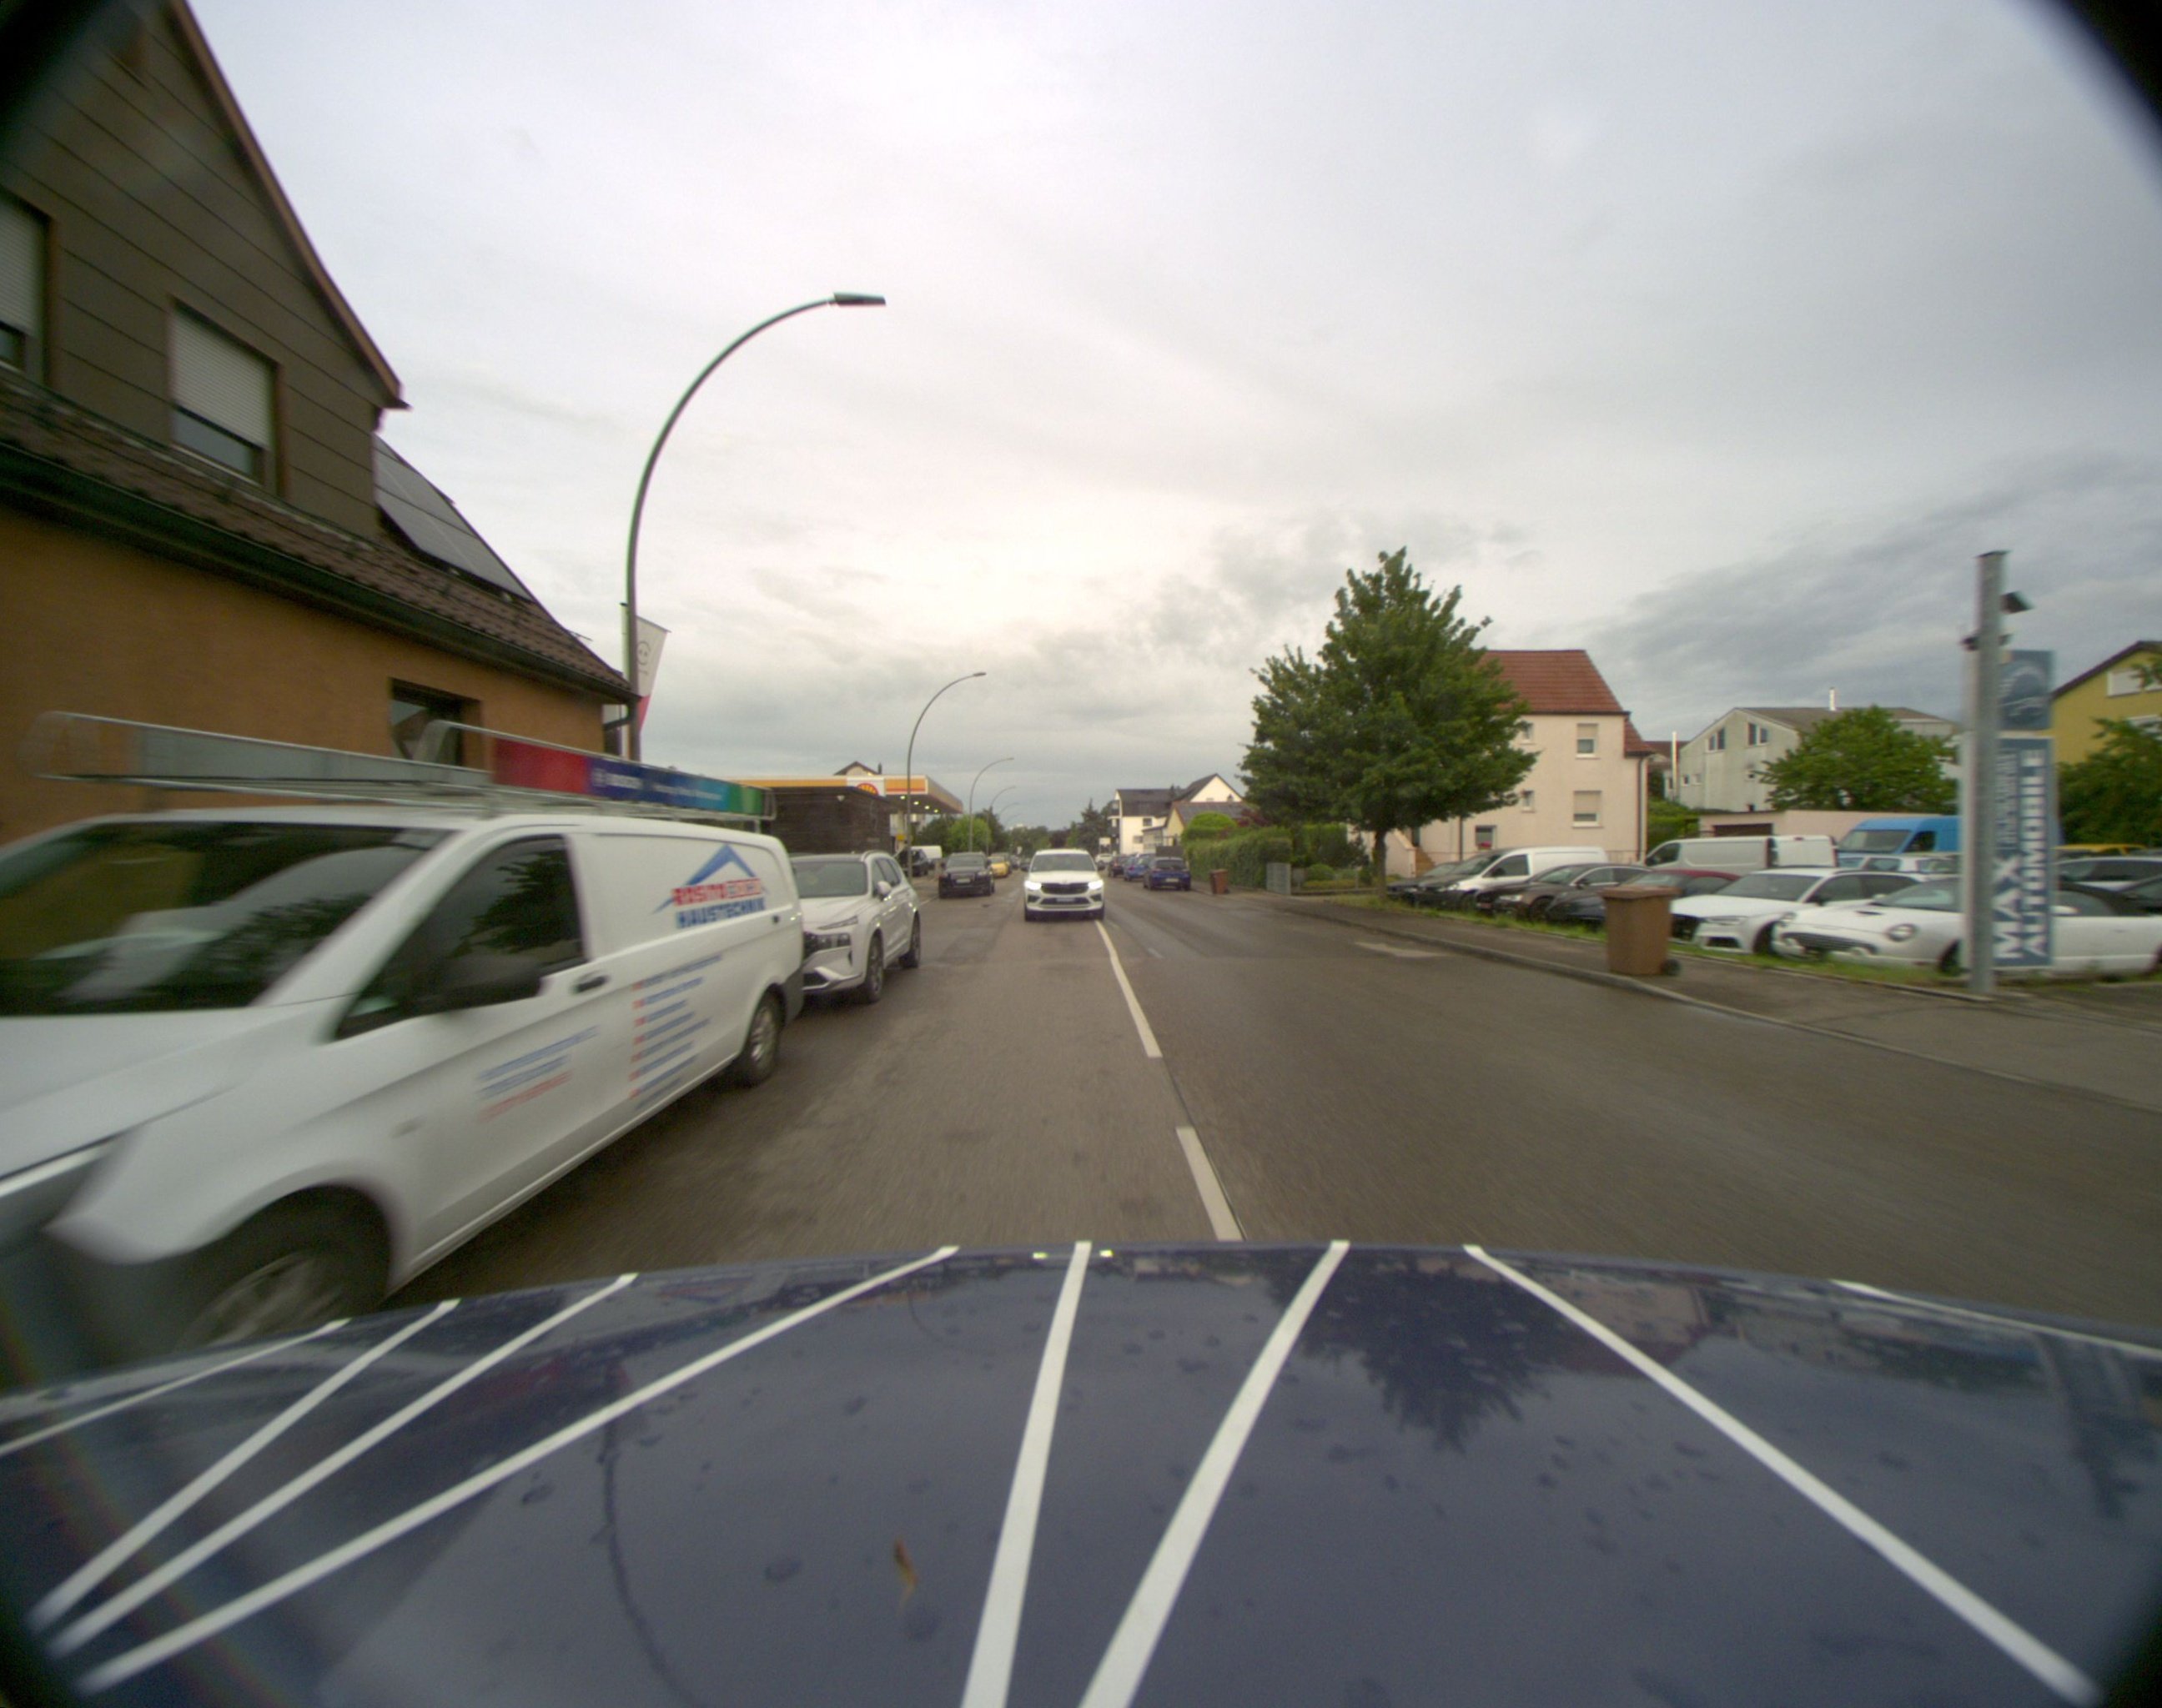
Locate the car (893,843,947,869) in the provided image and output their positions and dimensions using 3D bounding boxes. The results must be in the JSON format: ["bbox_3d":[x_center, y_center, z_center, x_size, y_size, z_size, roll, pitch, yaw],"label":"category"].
[{"bbox_3d":[-15.908,0.200,74.908,4.810,2.506,2.243,-1,0,-25],"label":"car"}]

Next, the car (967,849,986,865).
[{"bbox_3d":[-11.878,0.327,86.322,2.000,1.673,3.997,-1,0,-8],"label":"car"}]

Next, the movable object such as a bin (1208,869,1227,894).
[{"bbox_3d":[5.298,1.076,29.510,0.541,0.905,0.505,-4,1,-4],"label":"movable object such as a bin"}]

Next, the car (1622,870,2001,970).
[{"bbox_3d":[11.453,0.986,12.122,4.388,1.366,1.888,-1,1,-3],"label":"car"}]

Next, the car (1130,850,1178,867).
[{"bbox_3d":[6.720,0.429,70.100,4.097,1.505,1.882,-1,0,-7],"label":"car"}]

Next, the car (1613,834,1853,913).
[{"bbox_3d":[17.657,0.475,21.020,1.999,1.919,5.051,0,0,-5],"label":"car"}]

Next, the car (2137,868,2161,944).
[{"bbox_3d":[19.190,0.838,11.146,1.621,1.250,3.996,-1,-1,-13],"label":"car"}]

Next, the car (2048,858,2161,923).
[{"bbox_3d":[23.620,0.772,16.725,3.232,1.325,1.337,-1,1,-5],"label":"car"}]

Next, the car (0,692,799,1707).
[{"bbox_3d":[-3.020,0.737,3.321,1.782,2.017,4.753,-2,0,-1],"label":"car"}]

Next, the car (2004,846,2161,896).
[{"bbox_3d":[27.961,0.451,21.127,3.232,1.325,1.337,-1,1,-5],"label":"car"}]

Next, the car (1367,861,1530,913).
[{"bbox_3d":[10.581,0.924,21.994,3.923,1.364,1.760,-1,1,-7],"label":"car"}]

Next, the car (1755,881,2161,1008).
[{"bbox_3d":[11.492,1.063,9.641,4.464,1.324,1.770,-1,1,-3],"label":"car"}]

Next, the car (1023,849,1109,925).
[{"bbox_3d":[-0.471,0.739,19.188,1.885,1.650,4.829,0,0,-3],"label":"car"}]

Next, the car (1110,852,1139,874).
[{"bbox_3d":[2.972,0.597,52.521,1.613,1.497,3.706,1,0,-3],"label":"car"}]

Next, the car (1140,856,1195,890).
[{"bbox_3d":[3.820,0.797,34.218,1.812,1.395,3.943,1,0,-3],"label":"car"}]

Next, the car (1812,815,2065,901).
[{"bbox_3d":[25.948,0.107,23.119,5.686,2.361,2.046,-1,1,-3],"label":"car"}]

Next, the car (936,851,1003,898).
[{"bbox_3d":[-4.338,0.782,30.198,2.097,1.652,4.558,-2,-1,-2],"label":"car"}]

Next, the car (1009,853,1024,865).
[{"bbox_3d":[-8.536,0.699,100.449,1.742,1.493,3.880,-3,0,-2],"label":"car"}]

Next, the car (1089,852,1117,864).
[{"bbox_3d":[3.448,0.622,117.914,3.999,1.637,1.999,-4,0,-5],"label":"car"}]

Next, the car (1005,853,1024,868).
[{"bbox_3d":[-7.342,0.674,84.016,1.999,1.586,3.998,0,0,-5],"label":"car"}]

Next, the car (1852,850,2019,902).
[{"bbox_3d":[22.959,0.570,20.460,3.232,1.325,1.337,-1,1,-5],"label":"car"}]

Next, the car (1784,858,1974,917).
[{"bbox_3d":[19.938,0.784,19.167,1.389,1.325,3.114,-1,0,-5],"label":"car"}]

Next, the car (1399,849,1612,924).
[{"bbox_3d":[10.884,0.776,19.646,4.572,1.780,1.896,-1,1,-7],"label":"car"}]

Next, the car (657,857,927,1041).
[{"bbox_3d":[-3.182,0.910,9.392,1.871,1.655,4.318,-1,0,-4],"label":"car"}]

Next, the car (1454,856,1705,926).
[{"bbox_3d":[11.078,0.771,17.045,4.572,1.410,1.896,-1,1,-7],"label":"car"}]

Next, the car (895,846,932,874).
[{"bbox_3d":[-10.729,0.380,48.896,1.825,1.749,3.998,0,0,-6],"label":"car"}]

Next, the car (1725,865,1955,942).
[{"bbox_3d":[16.106,0.969,16.304,1.340,1.407,3.226,-1,0,-26],"label":"car"}]

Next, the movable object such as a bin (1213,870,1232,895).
[{"bbox_3d":[5.411,1.079,29.053,0.541,0.905,0.424,-4,1,-4],"label":"movable object such as a bin"}]

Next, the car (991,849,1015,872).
[{"bbox_3d":[-6.397,0.496,62.602,1.661,1.728,4.442,-3,0,-4],"label":"car"}]

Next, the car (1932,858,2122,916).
[{"bbox_3d":[23.029,0.775,18.553,3.232,1.325,1.337,-1,1,-5],"label":"car"}]

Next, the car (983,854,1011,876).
[{"bbox_3d":[-5.718,0.716,52.081,1.661,1.393,3.800,-1,0,-4],"label":"car"}]

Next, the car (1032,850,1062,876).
[{"bbox_3d":[-2.202,0.535,48.745,1.778,1.552,3.998,-2,0,-4],"label":"car"}]

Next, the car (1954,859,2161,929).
[{"bbox_3d":[20.459,0.755,15.242,1.664,1.228,3.530,-1,0,-9],"label":"car"}]

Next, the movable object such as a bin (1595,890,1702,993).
[{"bbox_3d":[6.723,1.014,9.038,0.710,1.123,0.735,-1,1,-3],"label":"movable object such as a bin"}]

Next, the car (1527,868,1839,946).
[{"bbox_3d":[11.308,0.955,14.489,4.570,1.302,1.888,-1,0,-3],"label":"car"}]

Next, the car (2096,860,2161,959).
[{"bbox_3d":[16.645,0.807,10.319,1.340,1.407,3.226,-1,0,-26],"label":"car"}]

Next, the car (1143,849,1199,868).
[{"bbox_3d":[7.212,0.334,61.123,4.096,1.405,1.713,-2,0,-6],"label":"car"}]

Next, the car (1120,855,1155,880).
[{"bbox_3d":[3.297,0.759,44.761,1.550,1.395,3.596,1,0,-3],"label":"car"}]
